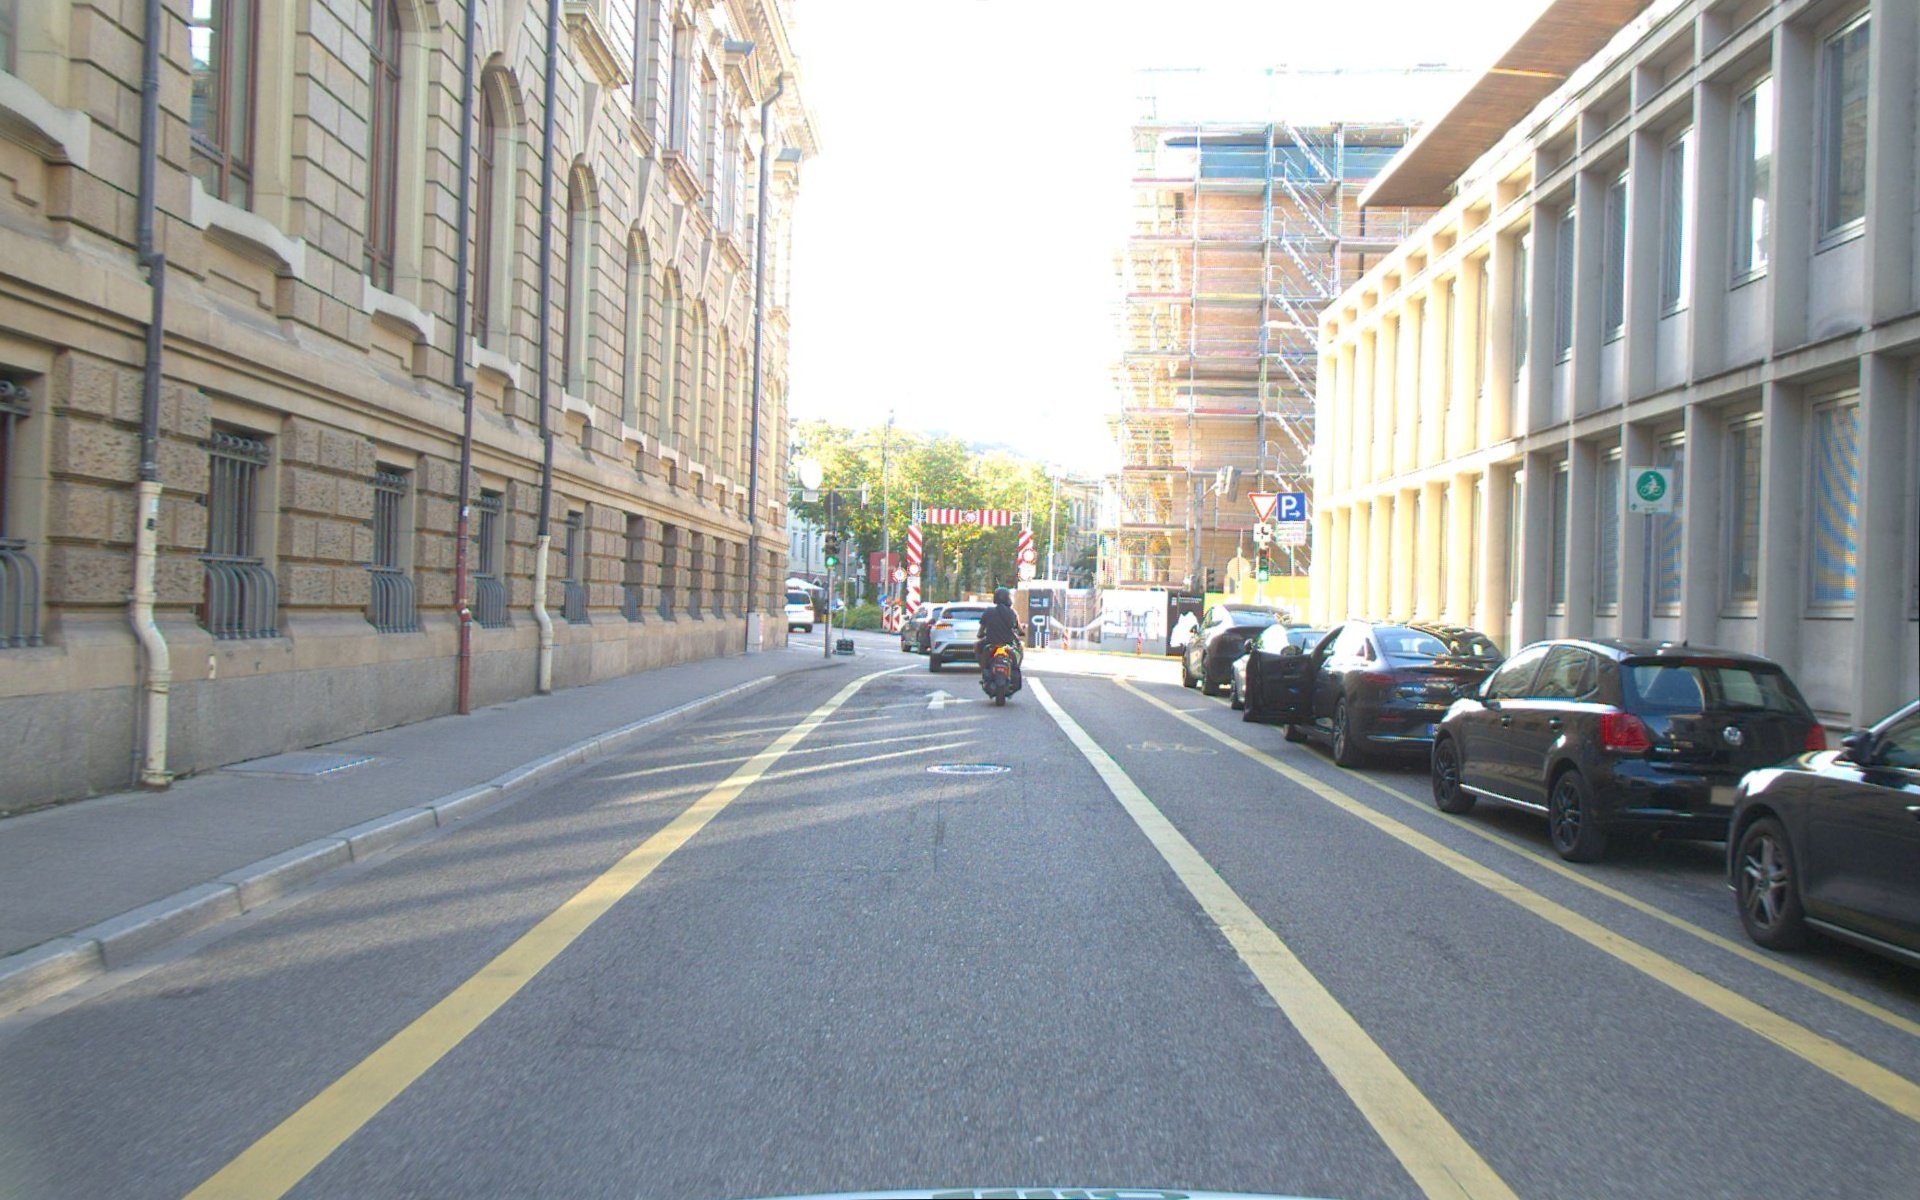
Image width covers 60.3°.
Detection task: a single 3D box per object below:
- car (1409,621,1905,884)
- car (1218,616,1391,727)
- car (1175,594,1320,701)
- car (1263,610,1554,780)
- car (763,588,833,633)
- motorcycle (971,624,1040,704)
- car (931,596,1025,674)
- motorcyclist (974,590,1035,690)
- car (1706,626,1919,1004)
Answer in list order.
[{"bbox_3d":[4.801,0.961,12.134,1.745,1.505,4.287,3,-1,-1],"label":"car"},{"bbox_3d":[5.058,1.023,24.846,1.787,1.423,4.480,3,-1,2],"label":"car"},{"bbox_3d":[5.263,0.811,30.880,1.787,1.728,4.666,3,1,-1],"label":"car"},{"bbox_3d":[4.704,0.927,18.091,1.787,1.527,4.735,3,-1,-1],"label":"car"},{"bbox_3d":[-6.778,0.391,68.685,1.963,1.693,4.335,-1,1,-18],"label":"car"},{"bbox_3d":[0.654,0.936,24.568,0.855,1.129,1.838,1,-1,-4],"label":"motorcycle"},{"bbox_3d":[0.454,0.750,36.752,1.784,1.568,4.265,2,0,4],"label":"car"},{"bbox_3d":[0.660,0.590,24.581,0.850,1.452,0.455,1,-1,-5],"label":"motorcyclist"},{"bbox_3d":[4.817,0.939,6.488,1.746,1.505,4.288,3,0,-1],"label":"car"}]
